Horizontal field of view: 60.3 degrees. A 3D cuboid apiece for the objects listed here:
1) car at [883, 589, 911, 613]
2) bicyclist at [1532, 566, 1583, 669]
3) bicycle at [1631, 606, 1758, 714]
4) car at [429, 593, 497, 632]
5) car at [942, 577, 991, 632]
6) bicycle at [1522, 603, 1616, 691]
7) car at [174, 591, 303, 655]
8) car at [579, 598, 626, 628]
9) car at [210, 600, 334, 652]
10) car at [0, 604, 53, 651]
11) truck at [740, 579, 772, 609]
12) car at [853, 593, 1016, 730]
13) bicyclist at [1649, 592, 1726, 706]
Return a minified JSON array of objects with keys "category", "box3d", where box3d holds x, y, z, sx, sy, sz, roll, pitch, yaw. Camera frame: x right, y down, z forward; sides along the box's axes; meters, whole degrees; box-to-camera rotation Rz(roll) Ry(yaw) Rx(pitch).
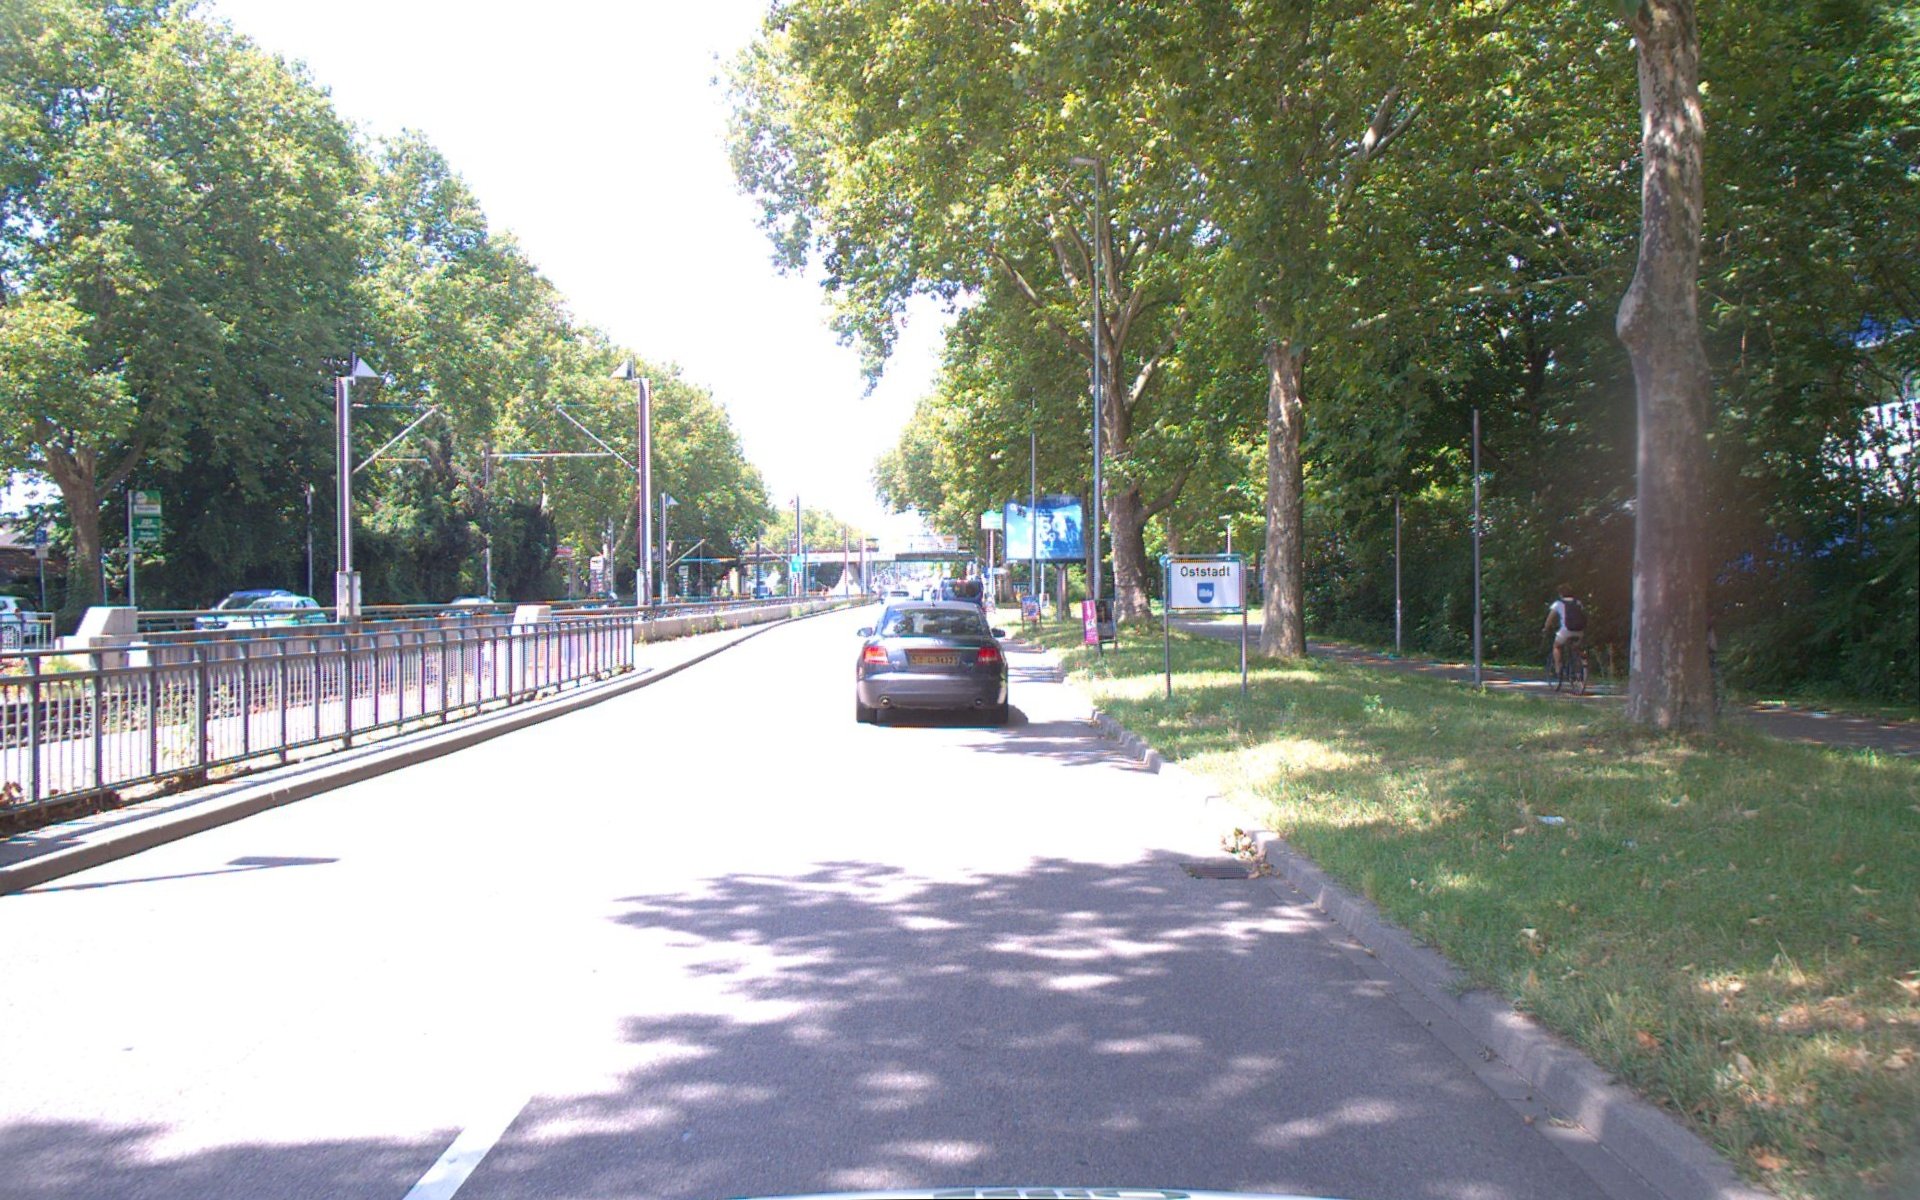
[{"category":"car","box3d":[-4.124,0.052,107.938,1.809,1.489,3.998,0,0,-3]},{"category":"bicyclist","box3d":[10.514,0.295,29.120,0.585,1.776,0.843,0,0,-1]},{"category":"bicycle","box3d":[10.598,0.827,23.969,0.598,1.444,2.661,-1,0,-1]},{"category":"car","box3d":[-22.834,0.550,76.163,1.708,1.713,4.384,0,0,1]},{"category":"car","box3d":[0.279,0.156,63.474,1.810,1.994,4.145,1,0,1]},{"category":"bicycle","box3d":[10.635,0.783,28.989,0.598,1.444,2.661,-1,0,-1]},{"category":"car","box3d":[-20.962,0.638,48.258,1.708,1.713,4.384,3,0,1]},{"category":"car","box3d":[-22.303,0.789,103.274,1.829,1.713,4.384,3,0,1]},{"category":"car","box3d":[-18.160,0.656,43.832,1.611,1.287,3.837,0,0,1]},{"category":"car","box3d":[-31.421,0.883,53.523,3.258,1.501,1.649,0,0,-12]},{"category":"truck","box3d":[-21.202,-0.583,172.238,2.932,3.073,7.992,0,0,-5]},{"category":"car","box3d":[-0.409,0.677,20.367,1.806,1.510,3.997,0,0,-4]},{"category":"bicyclist","box3d":[10.570,0.695,24.047,0.645,1.627,1.053,0,0,-1]}]
